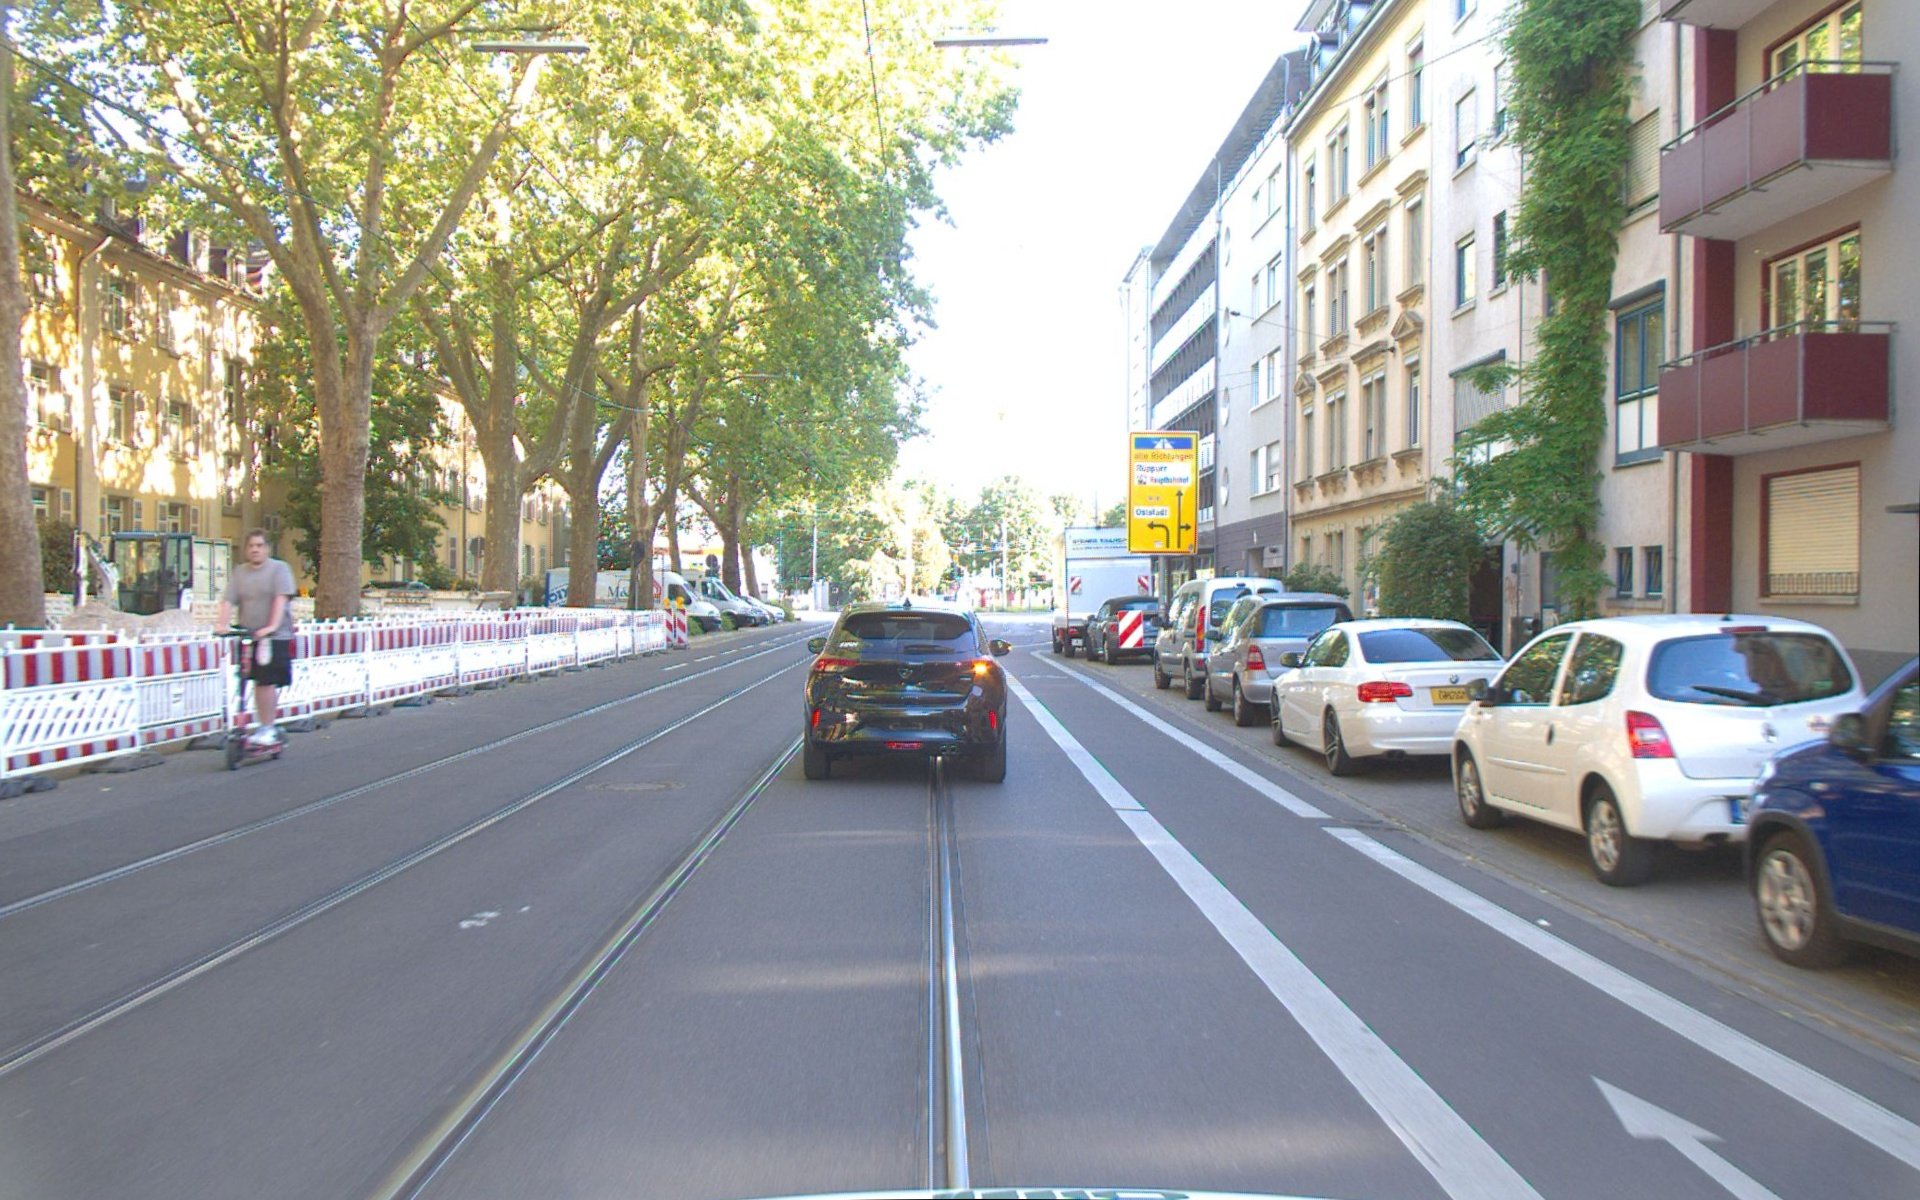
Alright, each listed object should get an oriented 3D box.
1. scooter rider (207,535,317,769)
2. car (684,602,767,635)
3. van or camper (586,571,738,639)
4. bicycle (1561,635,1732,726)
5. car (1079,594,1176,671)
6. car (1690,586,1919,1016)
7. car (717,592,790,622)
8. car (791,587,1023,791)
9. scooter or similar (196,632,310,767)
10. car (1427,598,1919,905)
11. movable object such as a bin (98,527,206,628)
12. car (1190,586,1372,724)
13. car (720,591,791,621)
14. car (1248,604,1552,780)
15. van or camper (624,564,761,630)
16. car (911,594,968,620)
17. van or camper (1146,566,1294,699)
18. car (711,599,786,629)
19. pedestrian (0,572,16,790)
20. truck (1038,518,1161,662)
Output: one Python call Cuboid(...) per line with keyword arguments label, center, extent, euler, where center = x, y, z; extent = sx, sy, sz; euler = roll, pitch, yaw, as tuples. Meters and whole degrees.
Cuboid(label="scooter rider", center=(-6.116, 0.446, 14.513), extent=(0.636, 1.991, 0.624), euler=(2, -1, -1))
Cuboid(label="car", center=(-11.863, 0.919, 83.817), extent=(3.905, 1.541, 1.649), euler=(2, -1, 0))
Cuboid(label="van or camper", center=(-11.523, 0.205, 64.212), extent=(5.387, 2.421, 2.270), euler=(2, -1, 2))
Cuboid(label="bicycle", center=(8.378, 0.980, 20.218), extent=(1.854, 1.047, 0.476), euler=(-1, 0, 4))
Cuboid(label="car", center=(3.737, 0.705, 37.498), extent=(1.695, 1.585, 4.151), euler=(-2, 0, 0))
Cuboid(label="car", center=(4.383, 0.779, 6.186), extent=(1.495, 1.618, 3.750), euler=(2, 0, -2))
Cuboid(label="car", center=(-11.976, 0.422, 96.059), extent=(4.086, 1.700, 1.963), euler=(1, 0, -4))
Cuboid(label="car", center=(-0.448, 0.678, 14.676), extent=(1.745, 1.522, 3.999), euler=(1, 0, -1))
Cuboid(label="scooter or similar", center=(-6.209, 0.851, 14.578), extent=(0.399, 1.102, 1.338), euler=(2, -1, 0))
Cuboid(label="car", center=(4.313, 0.794, 10.490), extent=(1.559, 1.553, 3.834), euler=(-1, 0, 0))
Cuboid(label="movable object such as a bin", center=(-14.124, -0.379, 28.964), extent=(1.075, 1.674, 1.559), euler=(2, -1, -1))
Cuboid(label="car", center=(4.039, 0.644, 21.309), extent=(1.626, 1.608, 3.588), euler=(0, 0, 0))
Cuboid(label="car", center=(-12.124, 0.357, 98.409), extent=(4.086, 1.700, 1.963), euler=(0, 0, -4))
Cuboid(label="car", center=(4.136, 0.783, 16.352), extent=(1.626, 1.424, 4.738), euler=(-1, 0, -1))
Cuboid(label="van or camper", center=(-11.832, -0.123, 73.457), extent=(5.607, 2.690, 2.269), euler=(2, -1, -1))
Cuboid(label="car", center=(-1.470, 0.473, 115.963), extent=(1.972, 1.725, 4.693), euler=(-1, 0, -29))
Cuboid(label="van or camper", center=(4.023, 0.466, 26.156), extent=(1.635, 1.916, 4.210), euler=(0, 0, 0))
Cuboid(label="car", center=(-11.880, 0.793, 93.081), extent=(3.905, 1.541, 1.649), euler=(2, -1, 0))
Cuboid(label="pedestrian", center=(-7.779, 0.618, 12.570), extent=(0.702, 1.698, 0.778), euler=(2, -1, -1))
Cuboid(label="truck", center=(3.545, -0.225, 43.515), extent=(2.486, 3.396, 7.194), euler=(-2, 0, 0))
